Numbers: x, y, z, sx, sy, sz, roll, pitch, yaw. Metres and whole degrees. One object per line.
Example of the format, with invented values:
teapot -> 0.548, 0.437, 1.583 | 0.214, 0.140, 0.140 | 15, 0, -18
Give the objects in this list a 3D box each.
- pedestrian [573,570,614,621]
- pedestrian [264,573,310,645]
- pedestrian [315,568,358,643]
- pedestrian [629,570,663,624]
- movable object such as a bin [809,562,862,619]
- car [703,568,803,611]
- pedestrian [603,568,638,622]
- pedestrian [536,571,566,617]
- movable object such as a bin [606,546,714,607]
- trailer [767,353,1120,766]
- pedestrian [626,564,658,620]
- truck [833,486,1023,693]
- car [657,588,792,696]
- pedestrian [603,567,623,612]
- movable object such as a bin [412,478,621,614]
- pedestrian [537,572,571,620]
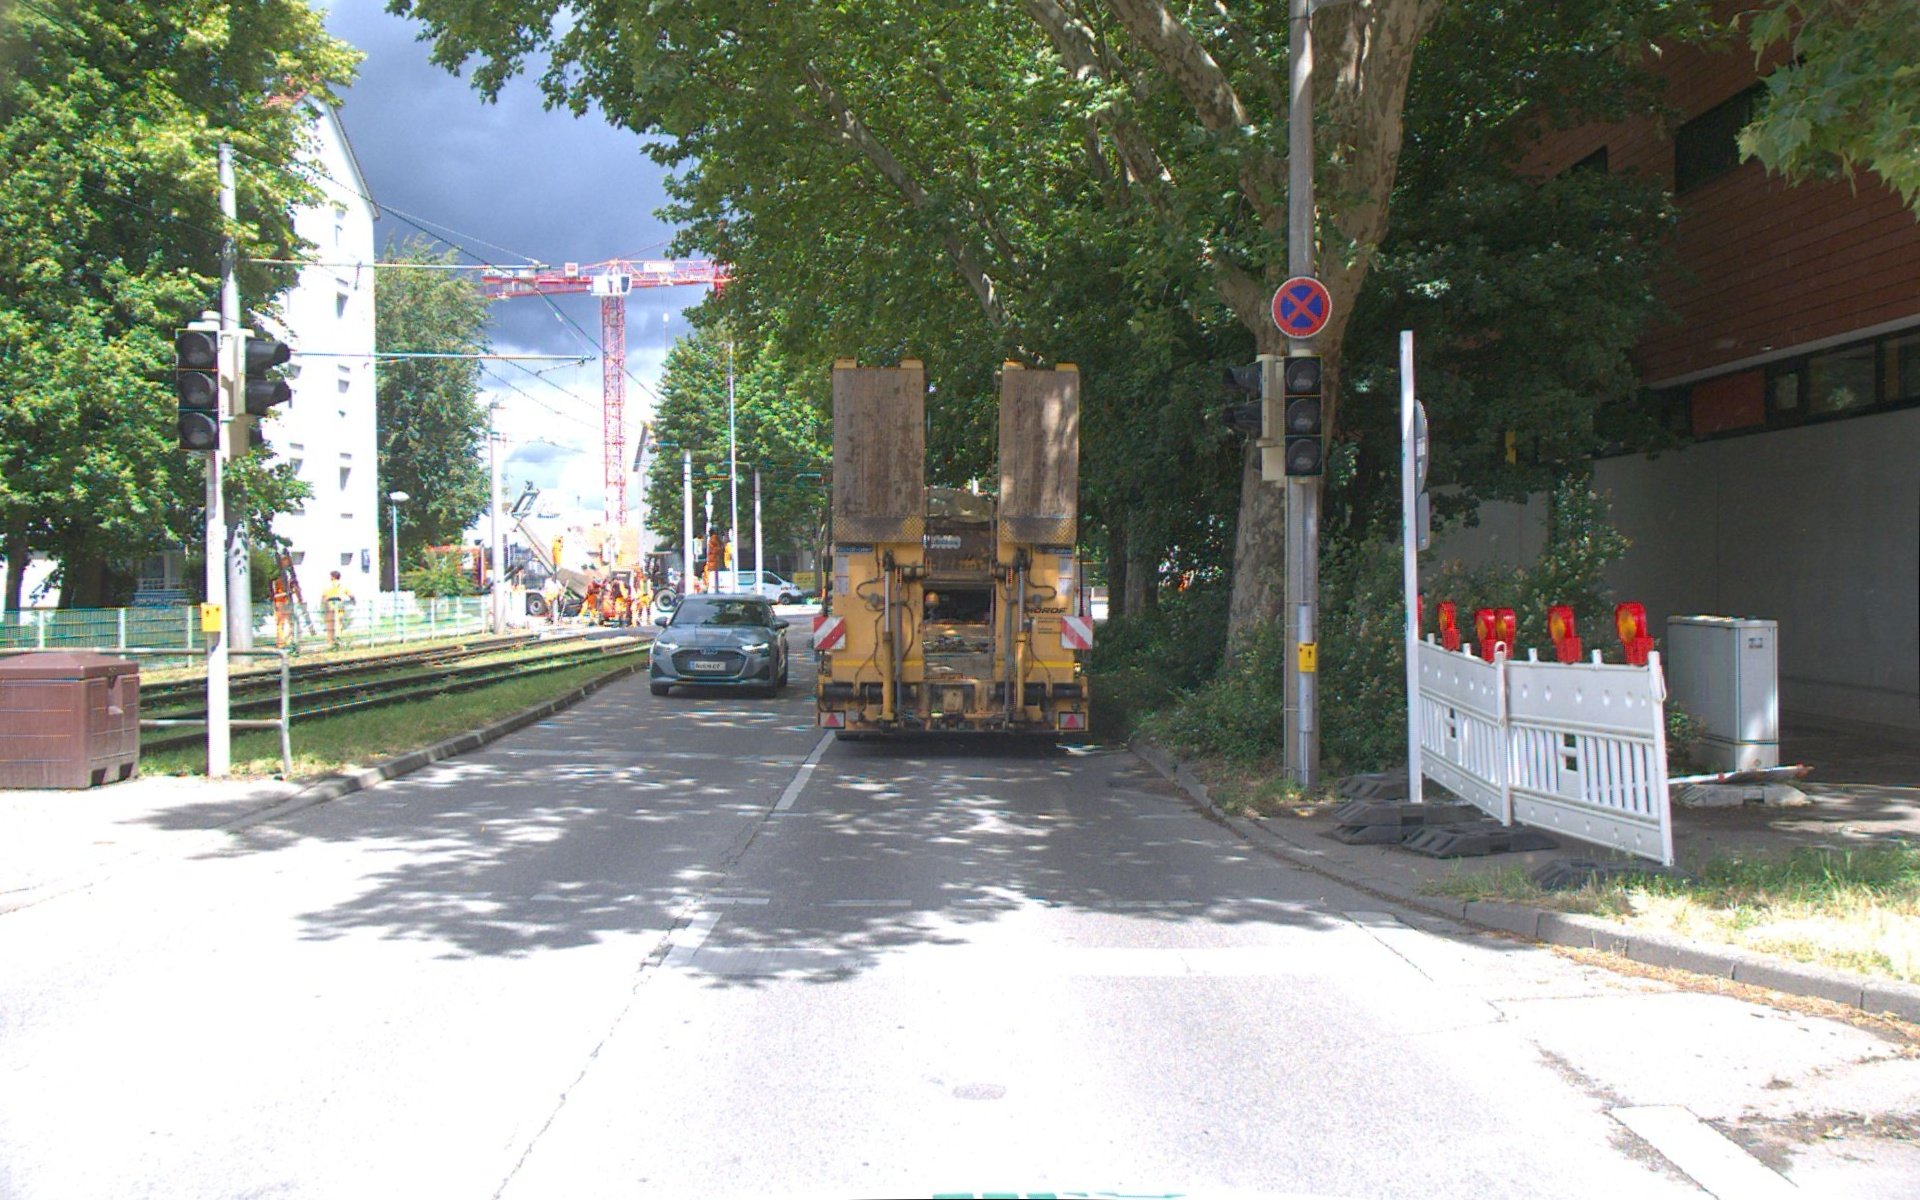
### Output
pedestrian -> -12.689, -0.144, 57.266 | 0.873, 1.745, 1.103 | 0, 0, 44
pedestrian -> -15.633, 0.208, 38.414 | 0.717, 1.654, 0.867 | 0, 0, -1
pedestrian -> -14.690, 0.120, 38.960 | 0.685, 1.748, 0.867 | 0, 0, -1
pedestrian -> -11.229, -0.103, 59.100 | 0.868, 1.900, 0.836 | 0, 0, 28
movable object such as a bin -> -4.576, -0.356, 60.949 | 1.369, 2.049, 2.558 | 0, 0, 10
car -> -10.876, -0.554, 86.854 | 5.006, 2.139, 1.968 | -1, 0, -16
pedestrian -> -11.426, -0.164, 55.673 | 0.867, 1.791, 0.837 | 0, 0, 17
pedestrian -> -15.149, -0.231, 61.277 | 0.875, 1.673, 0.891 | 0, 0, -29
movable object such as a bin -> -13.455, -1.025, 74.255 | 4.280, 2.675, 2.218 | 0, 0, 25
trailer -> -0.313, -0.346, 20.090 | 3.090, 3.615, 11.092 | 0, 0, -2
pedestrian -> -10.900, -0.287, 56.681 | 0.876, 1.900, 0.829 | 0, 0, -30
truck -> -0.592, -0.152, 29.586 | 2.929, 3.190, 7.885 | 0, 0, -2
car -> -3.370, 0.554, 24.229 | 1.603, 1.460, 3.849 | 0, 0, -3
pedestrian -> -14.871, -0.444, 70.859 | 0.820, 1.900, 0.885 | 0, 0, -13
movable object such as a bin -> -18.847, -2.205, 70.061 | 9.020, 5.509, 2.662 | 0, 0, 26
pedestrian -> -14.374, -0.133, 58.510 | 0.881, 1.673, 0.824 | 0, 0, -43
